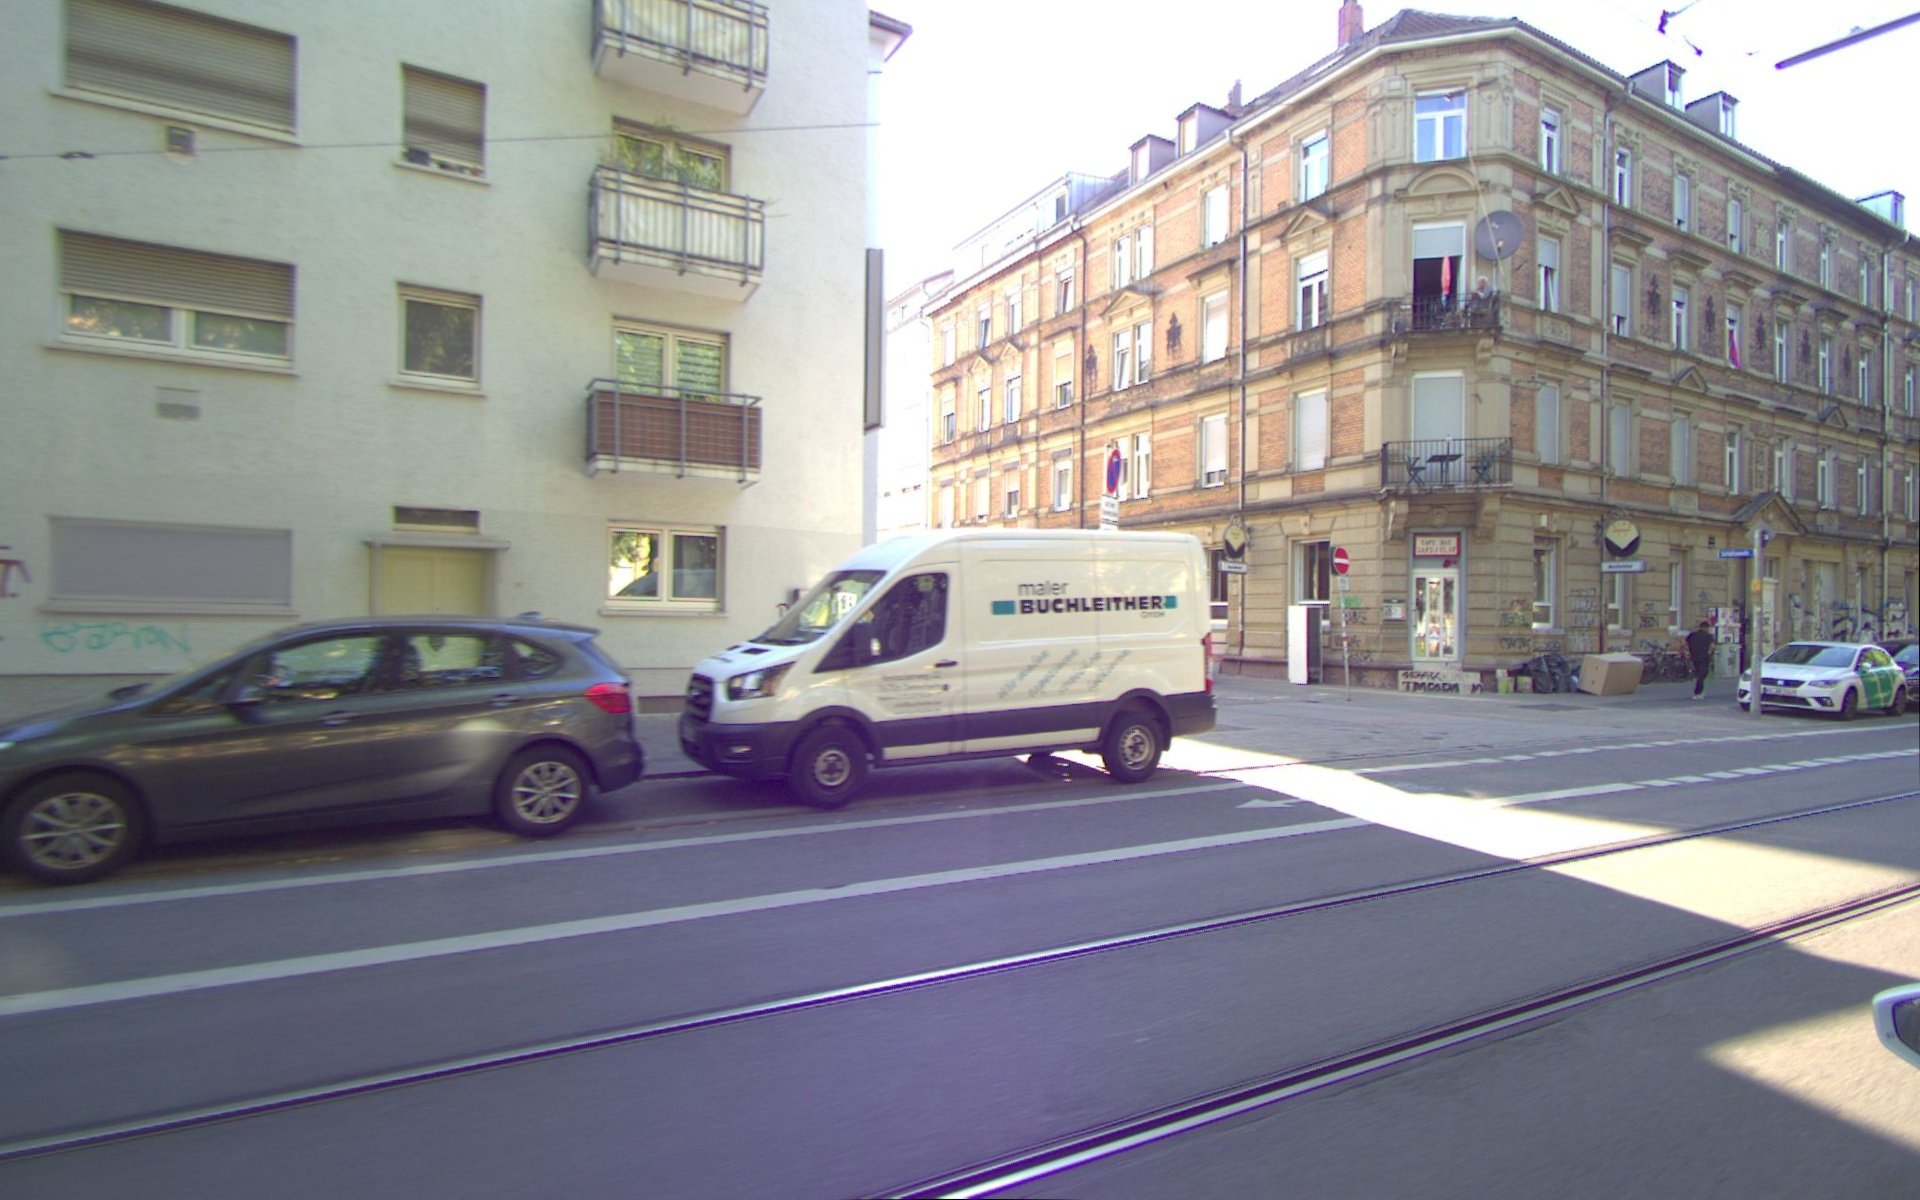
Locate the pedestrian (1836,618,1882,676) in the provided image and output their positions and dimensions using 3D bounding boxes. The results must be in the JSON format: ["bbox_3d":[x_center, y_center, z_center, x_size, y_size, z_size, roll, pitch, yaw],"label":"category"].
[{"bbox_3d":[26.807,1.389,29.961,0.753,1.687,0.665,1,0,2],"label":"pedestrian"}]

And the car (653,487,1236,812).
[{"bbox_3d":[-0.029,0.463,10.173,5.596,2.569,2.057,1,-1,-28],"label":"car"}]

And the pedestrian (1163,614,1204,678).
[{"bbox_3d":[6.327,1.296,28.466,0.881,1.772,0.654,1,0,-26],"label":"pedestrian"}]

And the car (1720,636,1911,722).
[{"bbox_3d":[17.285,1.523,20.262,3.998,1.511,1.732,2,0,-31],"label":"car"}]

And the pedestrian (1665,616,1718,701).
[{"bbox_3d":[16.425,1.292,22.559,1.048,1.825,0.678,1,0,-38],"label":"pedestrian"}]

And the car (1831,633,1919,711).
[{"bbox_3d":[22.012,1.599,22.995,4.731,1.583,1.732,2,0,-31],"label":"car"}]

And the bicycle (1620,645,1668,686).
[{"bbox_3d":[18.151,1.718,26.643,1.828,1.048,0.370,1,-1,-33],"label":"bicycle"}]

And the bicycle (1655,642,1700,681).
[{"bbox_3d":[19.767,1.681,27.651,1.828,1.048,0.370,1,-1,-33],"label":"bicycle"}]

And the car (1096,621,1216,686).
[{"bbox_3d":[5.238,1.380,27.169,1.697,1.606,3.163,-1,0,-24],"label":"car"}]

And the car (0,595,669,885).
[{"bbox_3d":[-4.510,0.845,7.339,4.297,1.653,1.710,1,-1,-31],"label":"car"}]
